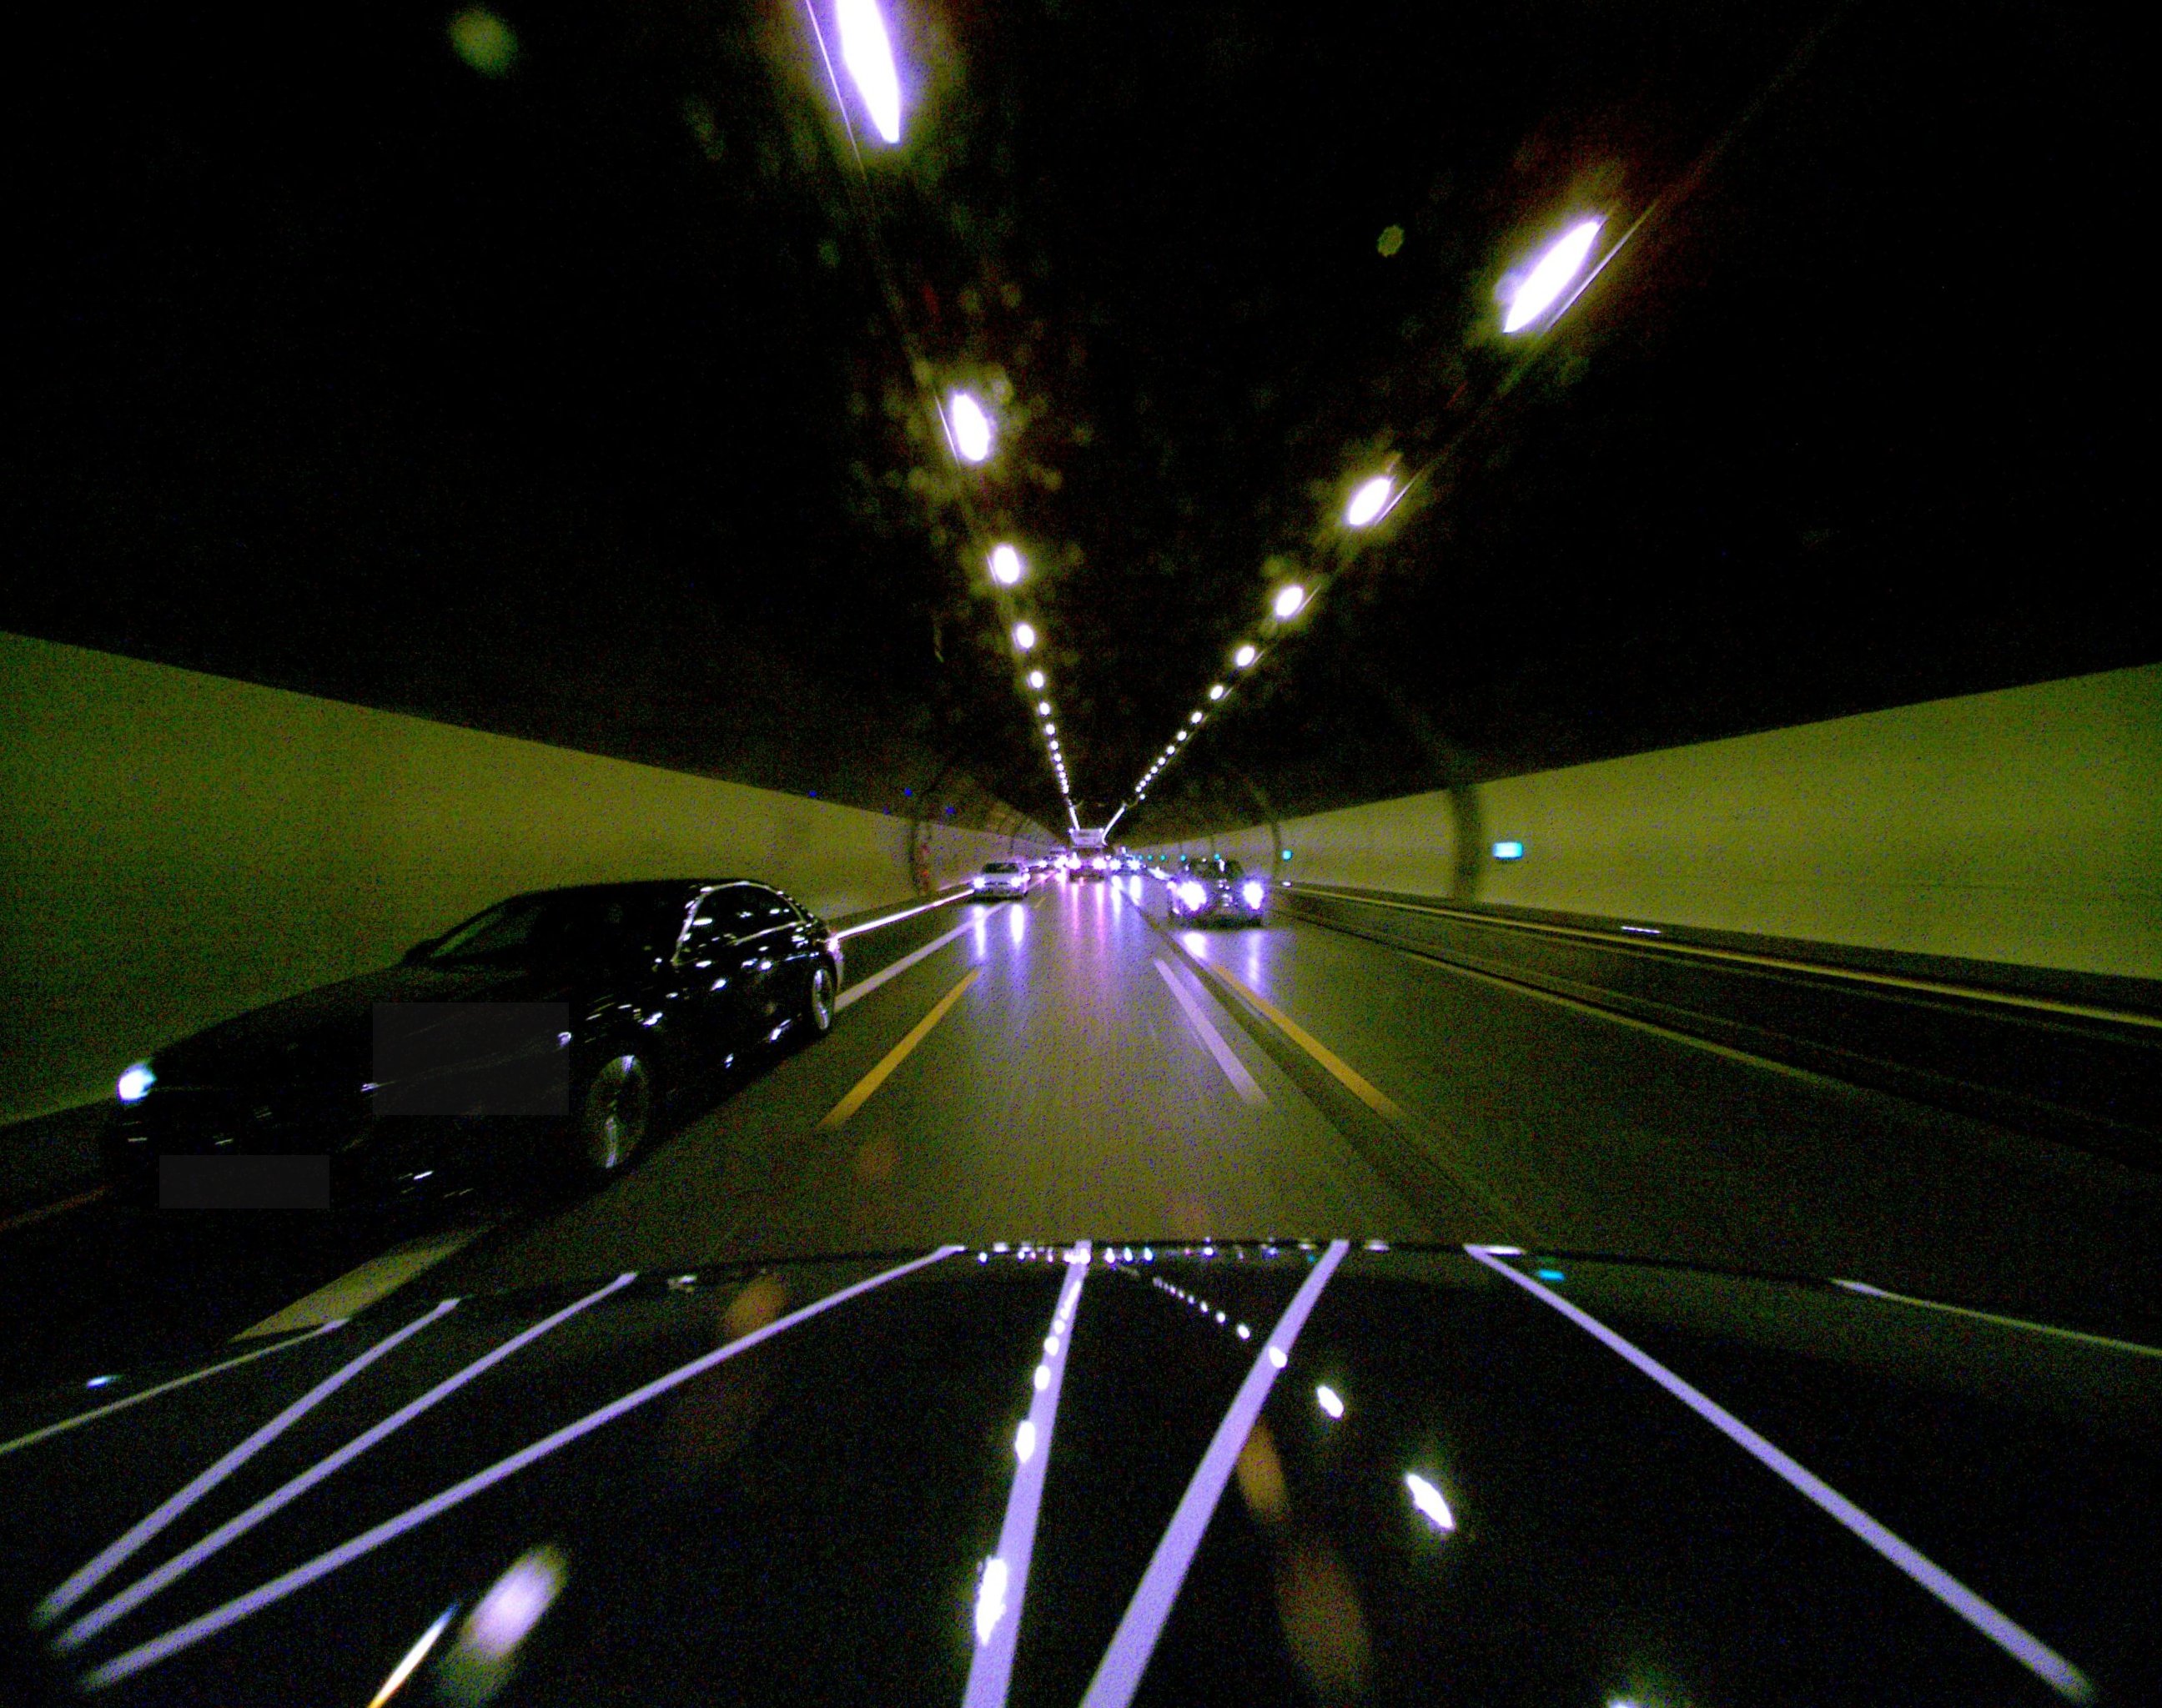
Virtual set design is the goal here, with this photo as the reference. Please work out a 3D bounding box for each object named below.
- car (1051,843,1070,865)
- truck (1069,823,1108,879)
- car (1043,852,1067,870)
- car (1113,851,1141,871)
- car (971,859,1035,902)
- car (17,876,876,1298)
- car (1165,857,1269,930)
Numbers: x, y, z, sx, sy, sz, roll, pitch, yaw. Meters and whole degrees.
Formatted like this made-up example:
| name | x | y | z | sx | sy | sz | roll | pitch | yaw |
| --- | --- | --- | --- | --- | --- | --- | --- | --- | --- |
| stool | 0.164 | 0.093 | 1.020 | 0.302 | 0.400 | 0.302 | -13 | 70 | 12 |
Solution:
| name | x | y | z | sx | sy | sz | roll | pitch | yaw |
| --- | --- | --- | --- | --- | --- | --- | --- | --- | --- |
| car | -2.548 | -0.034 | 95.410 | 2.124 | 2.629 | 6.229 | 0 | 1 | 0 |
| truck | 0.488 | -0.213 | 48.270 | 2.262 | 3.238 | 7.382 | 1 | 0 | 1 |
| car | -2.289 | 0.577 | 67.746 | 1.958 | 1.528 | 4.757 | 0 | 1 | 0 |
| car | 3.663 | 0.536 | 61.316 | 1.958 | 1.528 | 4.757 | -2 | 1 | 0 |
| car | -2.845 | 0.927 | 28.549 | 1.801 | 1.452 | 4.035 | -1 | 0 | 3 |
| car | -3.152 | 0.983 | 5.449 | 1.930 | 1.464 | 4.954 | 0 | 0 | 1 |
| car | 2.900 | 0.790 | 16.905 | 1.657 | 1.395 | 3.656 | -1 | 0 | 1 |
